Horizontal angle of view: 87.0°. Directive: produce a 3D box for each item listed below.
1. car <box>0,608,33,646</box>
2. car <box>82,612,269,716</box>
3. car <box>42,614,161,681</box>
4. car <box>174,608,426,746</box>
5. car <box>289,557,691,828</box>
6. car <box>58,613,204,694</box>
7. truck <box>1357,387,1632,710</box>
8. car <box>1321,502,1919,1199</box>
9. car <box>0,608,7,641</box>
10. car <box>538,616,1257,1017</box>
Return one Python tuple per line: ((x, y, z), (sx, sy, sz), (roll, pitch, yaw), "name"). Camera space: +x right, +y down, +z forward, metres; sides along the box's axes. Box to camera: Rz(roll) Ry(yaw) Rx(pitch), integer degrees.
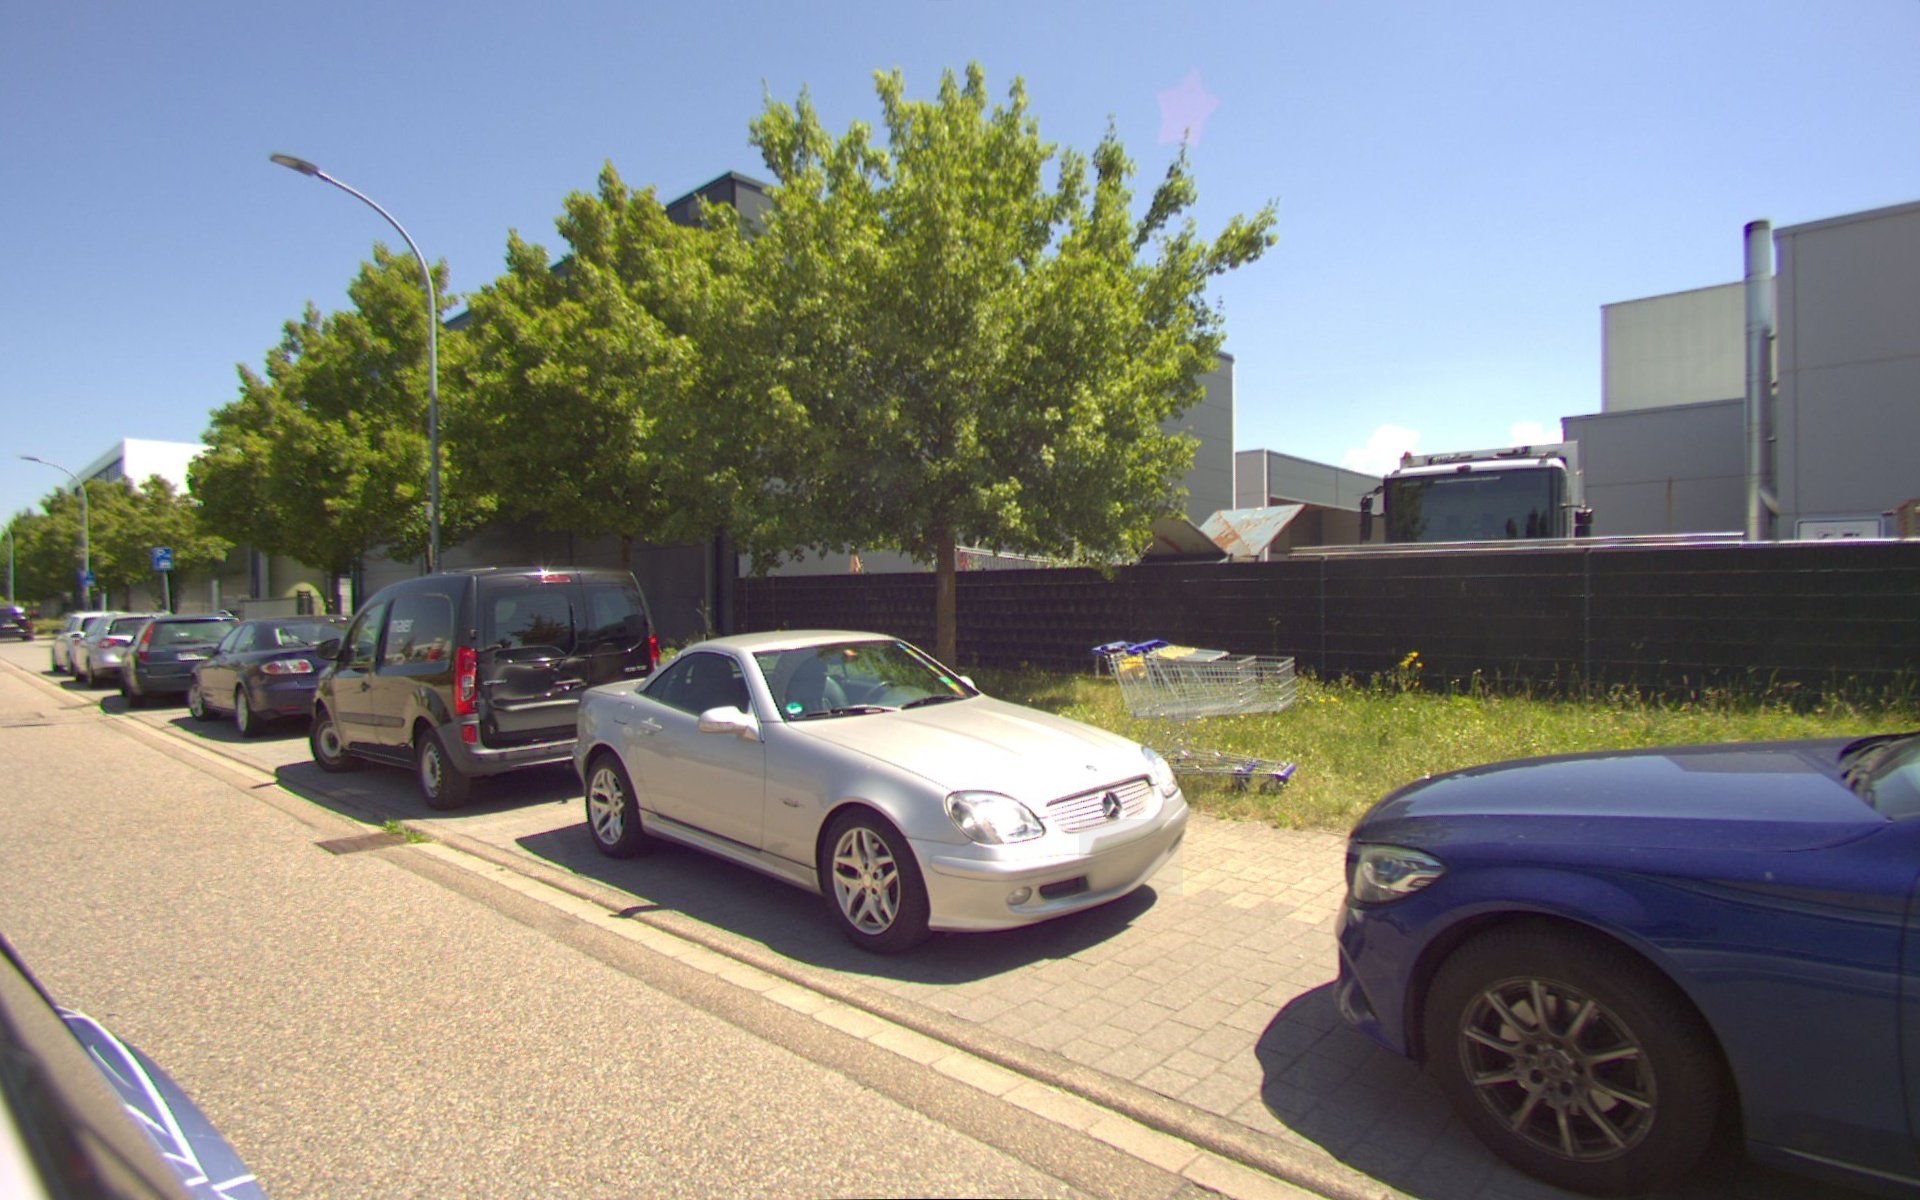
((-44.380, 1.275, 46.879), (3.830, 1.660, 1.775), (-1, 1, 42), "car")
((-13.528, 1.008, 17.357), (4.451, 1.497, 1.775), (-1, 1, 42), "car")
((-21.700, 1.145, 25.530), (3.968, 1.497, 1.775), (-1, 1, 42), "car")
((-8.866, 0.899, 13.423), (4.452, 1.475, 1.774), (-1, 1, 43), "car")
((-4.270, 0.629, 8.867), (4.083, 1.824, 1.811), (-1, 1, 44), "car")
((-17.637, 1.070, 21.475), (4.189, 1.497, 1.775), (-1, 1, 42), "car")
((8.468, -0.617, 15.931), (3.145, 4.001, 5.990), (-1, -1, 31), "truck")
((3.292, 0.544, 1.826), (4.626, 1.552, 1.811), (-1, 1, 44), "car")
((-53.153, 1.357, 54.938), (3.830, 1.723, 1.775), (-1, 1, 42), "car")
((-0.635, 0.786, 5.485), (1.625, 1.321, 4.002), (-2, 1, -45), "car")
